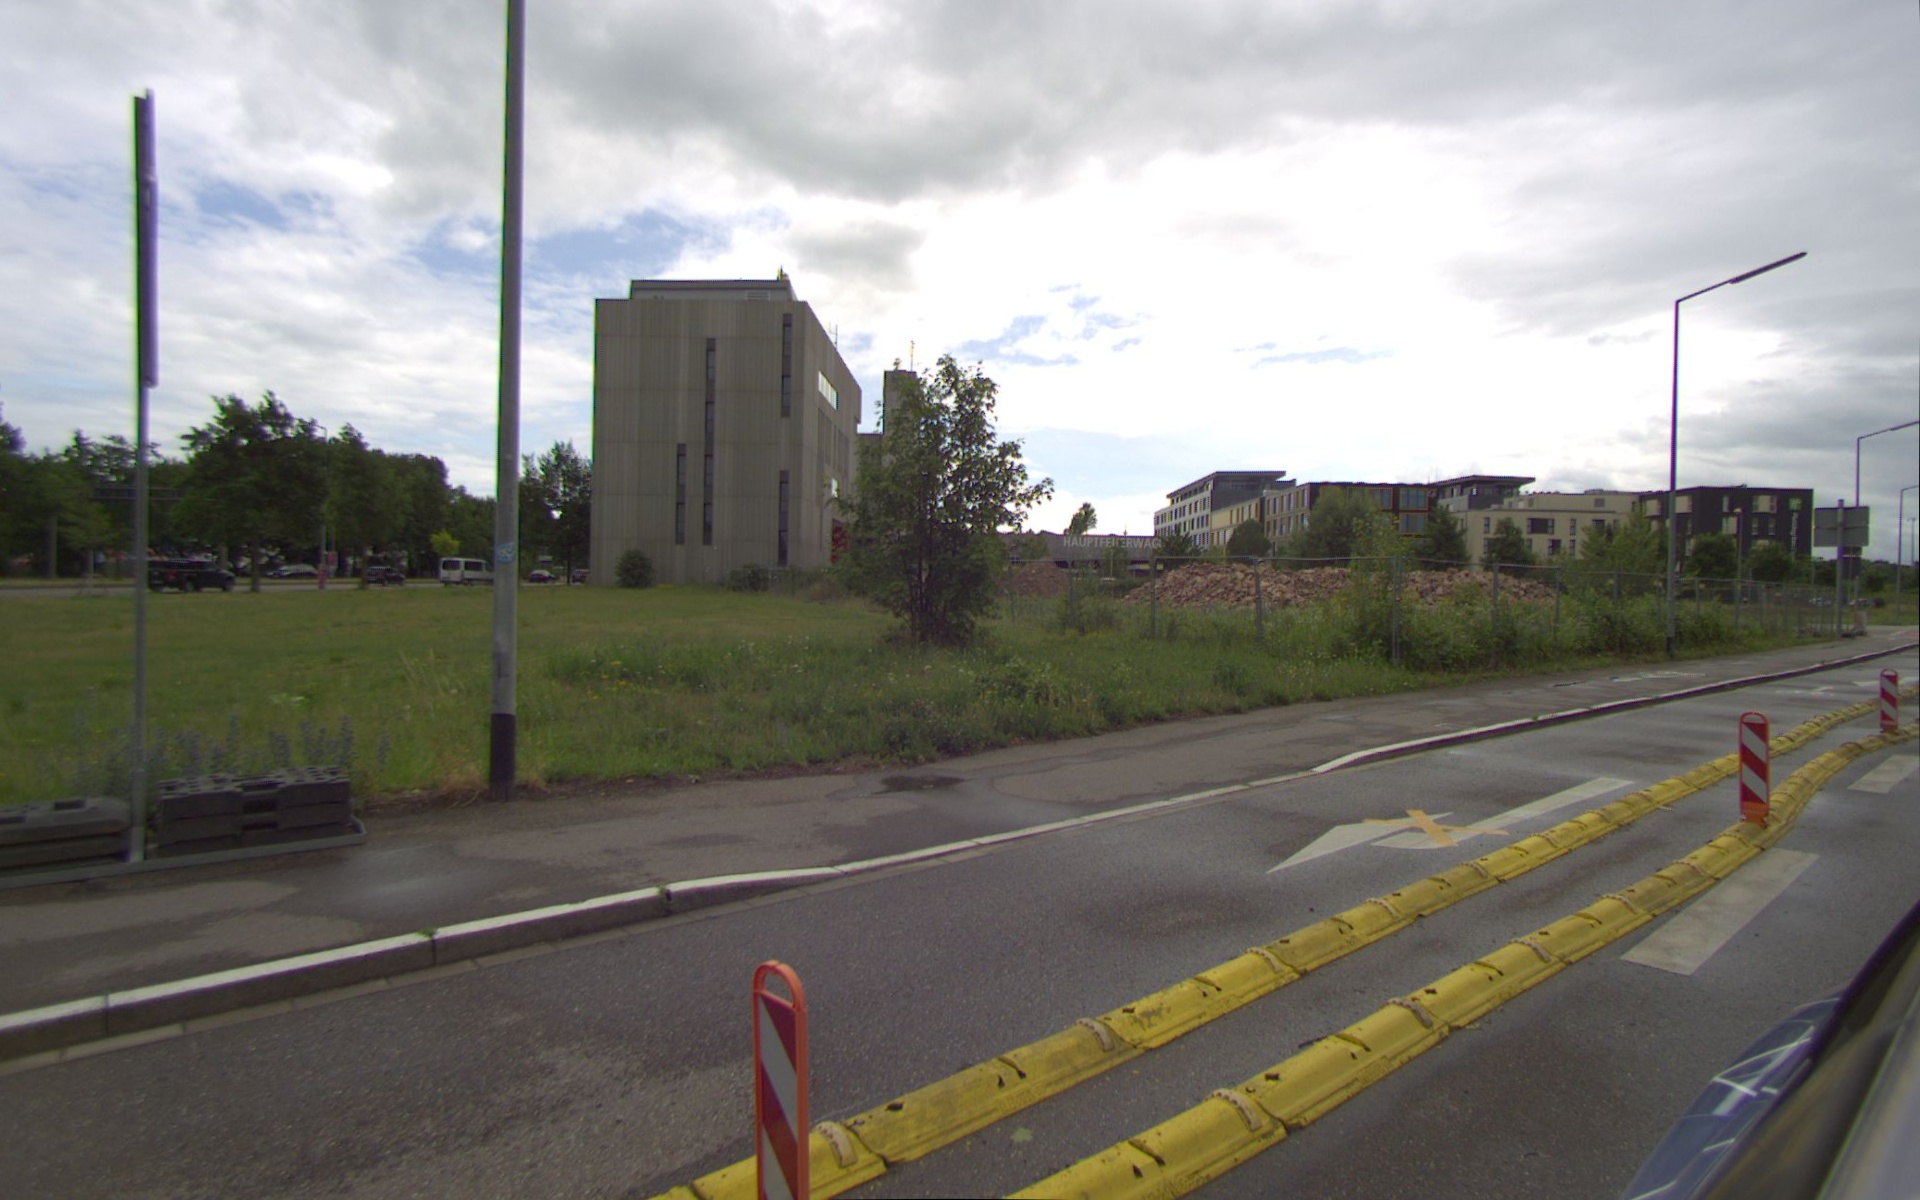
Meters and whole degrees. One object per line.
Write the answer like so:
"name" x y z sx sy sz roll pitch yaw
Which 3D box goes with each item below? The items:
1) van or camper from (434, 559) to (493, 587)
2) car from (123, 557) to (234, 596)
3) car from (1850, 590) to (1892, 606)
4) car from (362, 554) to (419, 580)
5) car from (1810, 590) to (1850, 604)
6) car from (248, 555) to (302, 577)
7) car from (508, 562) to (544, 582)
"van or camper" -40.135 -2.196 81.909 1.963 2.142 5.551 1 1 1
"car" -42.898 -1.293 55.708 2.182 1.996 5.042 1 1 0
"car" 126.813 -0.265 140.868 3.925 2.039 2.000 1 1 1
"car" -44.015 -2.519 78.290 1.964 1.872 3.997 1 1 3
"car" 127.670 -0.454 148.544 3.925 2.039 2.000 1 1 1
"car" -59.673 -2.929 88.224 1.749 1.861 3.992 1 1 7
"car" -46.302 -2.984 108.006 1.963 2.039 3.998 1 1 2
